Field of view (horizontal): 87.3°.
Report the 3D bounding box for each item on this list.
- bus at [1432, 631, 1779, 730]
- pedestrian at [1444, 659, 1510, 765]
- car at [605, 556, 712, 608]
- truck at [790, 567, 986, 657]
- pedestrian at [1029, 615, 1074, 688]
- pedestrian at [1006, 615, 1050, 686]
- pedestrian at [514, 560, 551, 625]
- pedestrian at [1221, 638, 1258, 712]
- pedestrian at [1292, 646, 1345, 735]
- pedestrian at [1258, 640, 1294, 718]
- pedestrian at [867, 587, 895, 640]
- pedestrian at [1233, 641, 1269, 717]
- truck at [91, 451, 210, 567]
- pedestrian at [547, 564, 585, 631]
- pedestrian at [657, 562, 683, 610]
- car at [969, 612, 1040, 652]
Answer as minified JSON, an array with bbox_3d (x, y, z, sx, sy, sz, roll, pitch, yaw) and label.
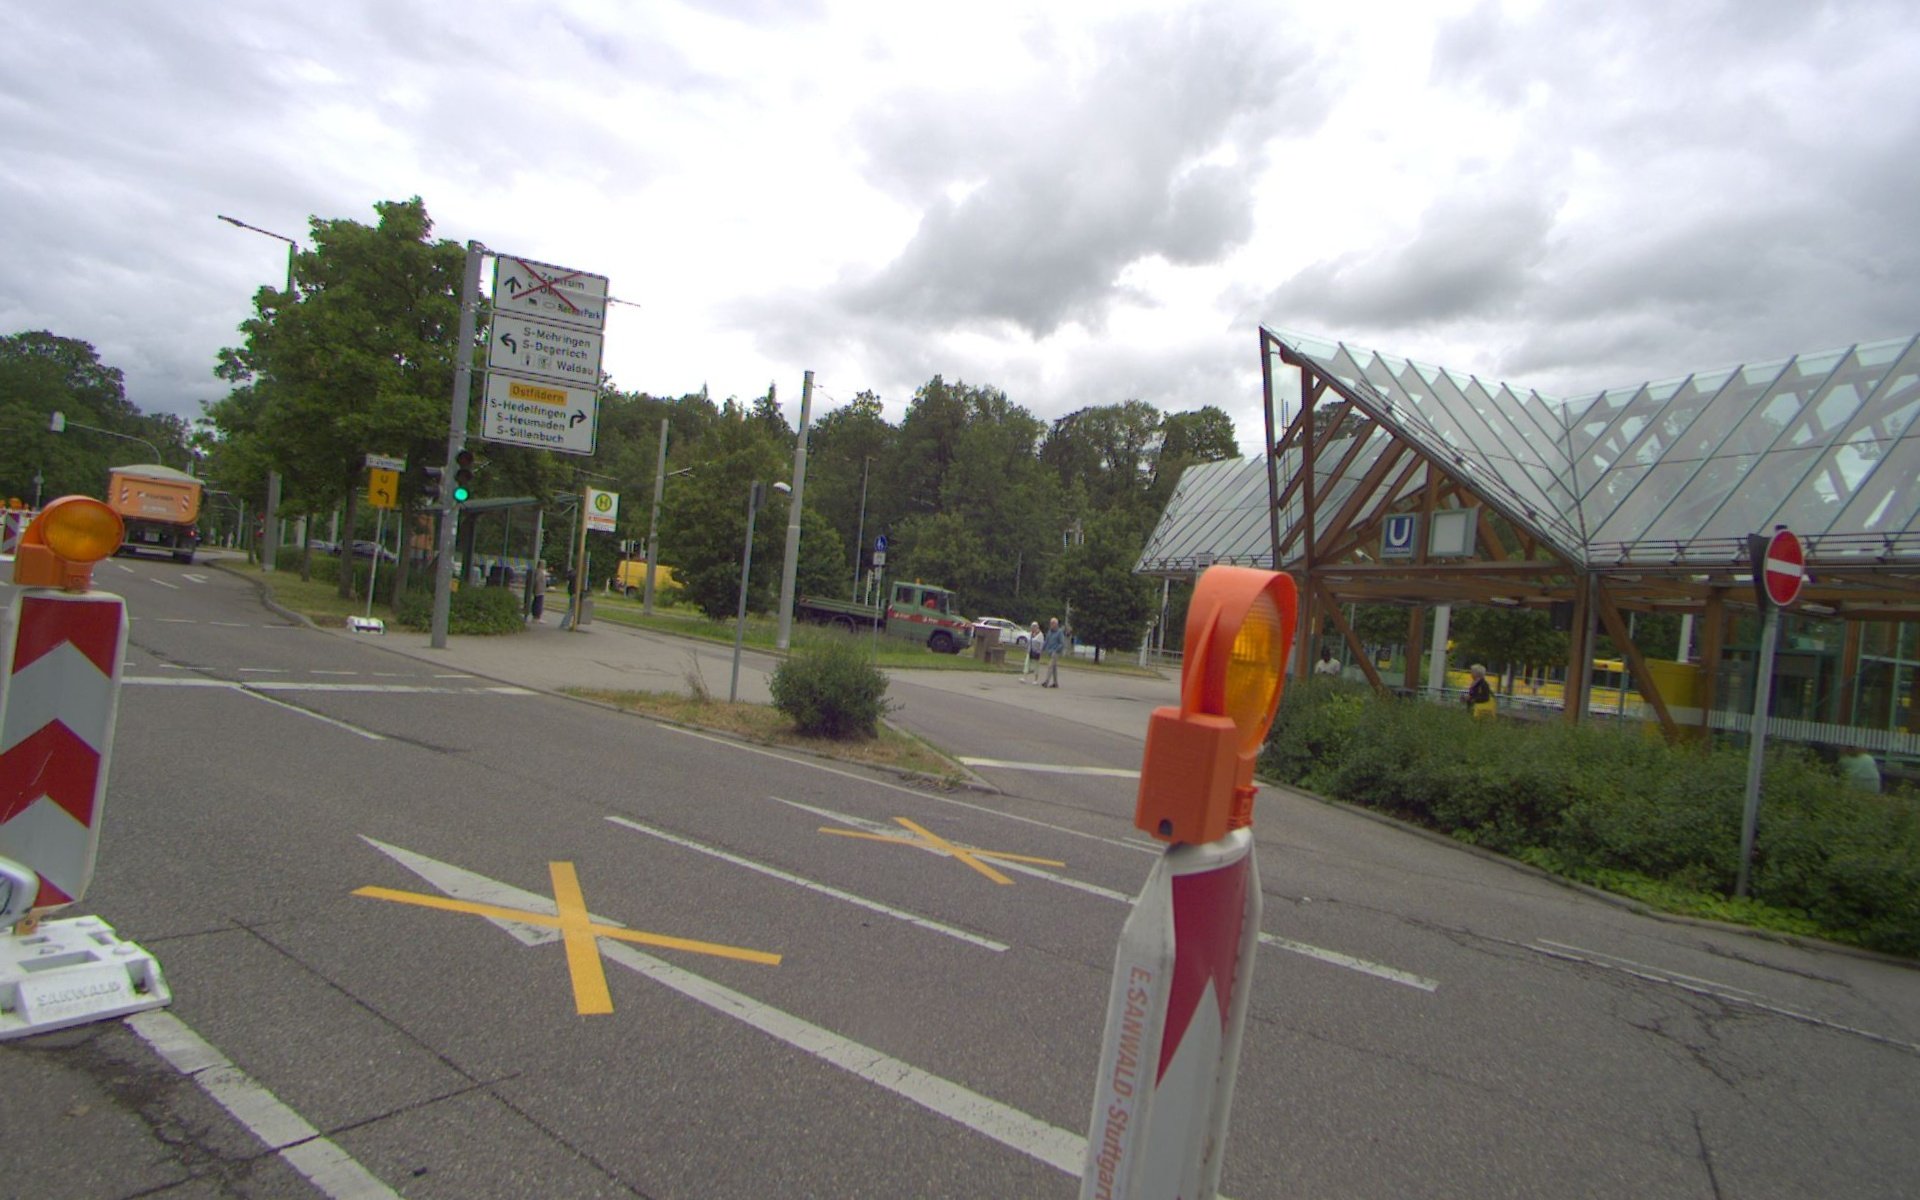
[{"bbox_3d":[37.952,4.708,59.527,18.242,3.523,3.980,7,-2,-3],"label":"bus"},{"bbox_3d":[9.314,2.005,18.134,0.645,1.778,0.668,7,-1,-7],"label":"pedestrian"},{"bbox_3d":[-19.348,-1.130,64.820,6.034,2.523,2.001,7,-1,1],"label":"car"},{"bbox_3d":[-2.548,0.457,36.384,6.418,2.379,2.410,6,-2,11],"label":"truck"},{"bbox_3d":[2.381,1.328,26.111,0.664,1.778,0.728,8,-2,-44],"label":"pedestrian"},{"bbox_3d":[1.795,1.333,26.568,0.664,1.778,0.728,8,-2,-43],"label":"pedestrian"},{"bbox_3d":[-10.744,-0.182,25.267,0.471,1.534,0.522,6,-1,30],"label":"pedestrian"},{"bbox_3d":[7.060,1.901,25.430,0.655,1.778,0.562,6,-1,10],"label":"pedestrian"},{"bbox_3d":[7.593,1.920,21.321,0.664,1.778,0.648,8,-1,-42],"label":"pedestrian"},{"bbox_3d":[7.654,1.911,24.330,0.589,1.778,0.668,6,-1,24],"label":"pedestrian"},{"bbox_3d":[-4.843,0.833,61.692,1.093,3.080,1.027,6,-1,18],"label":"pedestrian"},{"bbox_3d":[7.153,1.937,24.692,0.589,1.778,0.668,6,-1,24],"label":"pedestrian"},{"bbox_3d":[-30.221,-3.340,37.857,2.843,3.558,8.165,6,0,-36],"label":"truck"},{"bbox_3d":[-9.528,-0.061,24.329,0.471,1.534,0.522,6,-1,30],"label":"pedestrian"},{"bbox_3d":[-14.866,-0.731,51.598,0.846,2.321,0.617,6,-1,18],"label":"pedestrian"},{"bbox_3d":[2.821,2.061,64.126,4.247,2.037,2.001,7,-2,1],"label":"car"}]
